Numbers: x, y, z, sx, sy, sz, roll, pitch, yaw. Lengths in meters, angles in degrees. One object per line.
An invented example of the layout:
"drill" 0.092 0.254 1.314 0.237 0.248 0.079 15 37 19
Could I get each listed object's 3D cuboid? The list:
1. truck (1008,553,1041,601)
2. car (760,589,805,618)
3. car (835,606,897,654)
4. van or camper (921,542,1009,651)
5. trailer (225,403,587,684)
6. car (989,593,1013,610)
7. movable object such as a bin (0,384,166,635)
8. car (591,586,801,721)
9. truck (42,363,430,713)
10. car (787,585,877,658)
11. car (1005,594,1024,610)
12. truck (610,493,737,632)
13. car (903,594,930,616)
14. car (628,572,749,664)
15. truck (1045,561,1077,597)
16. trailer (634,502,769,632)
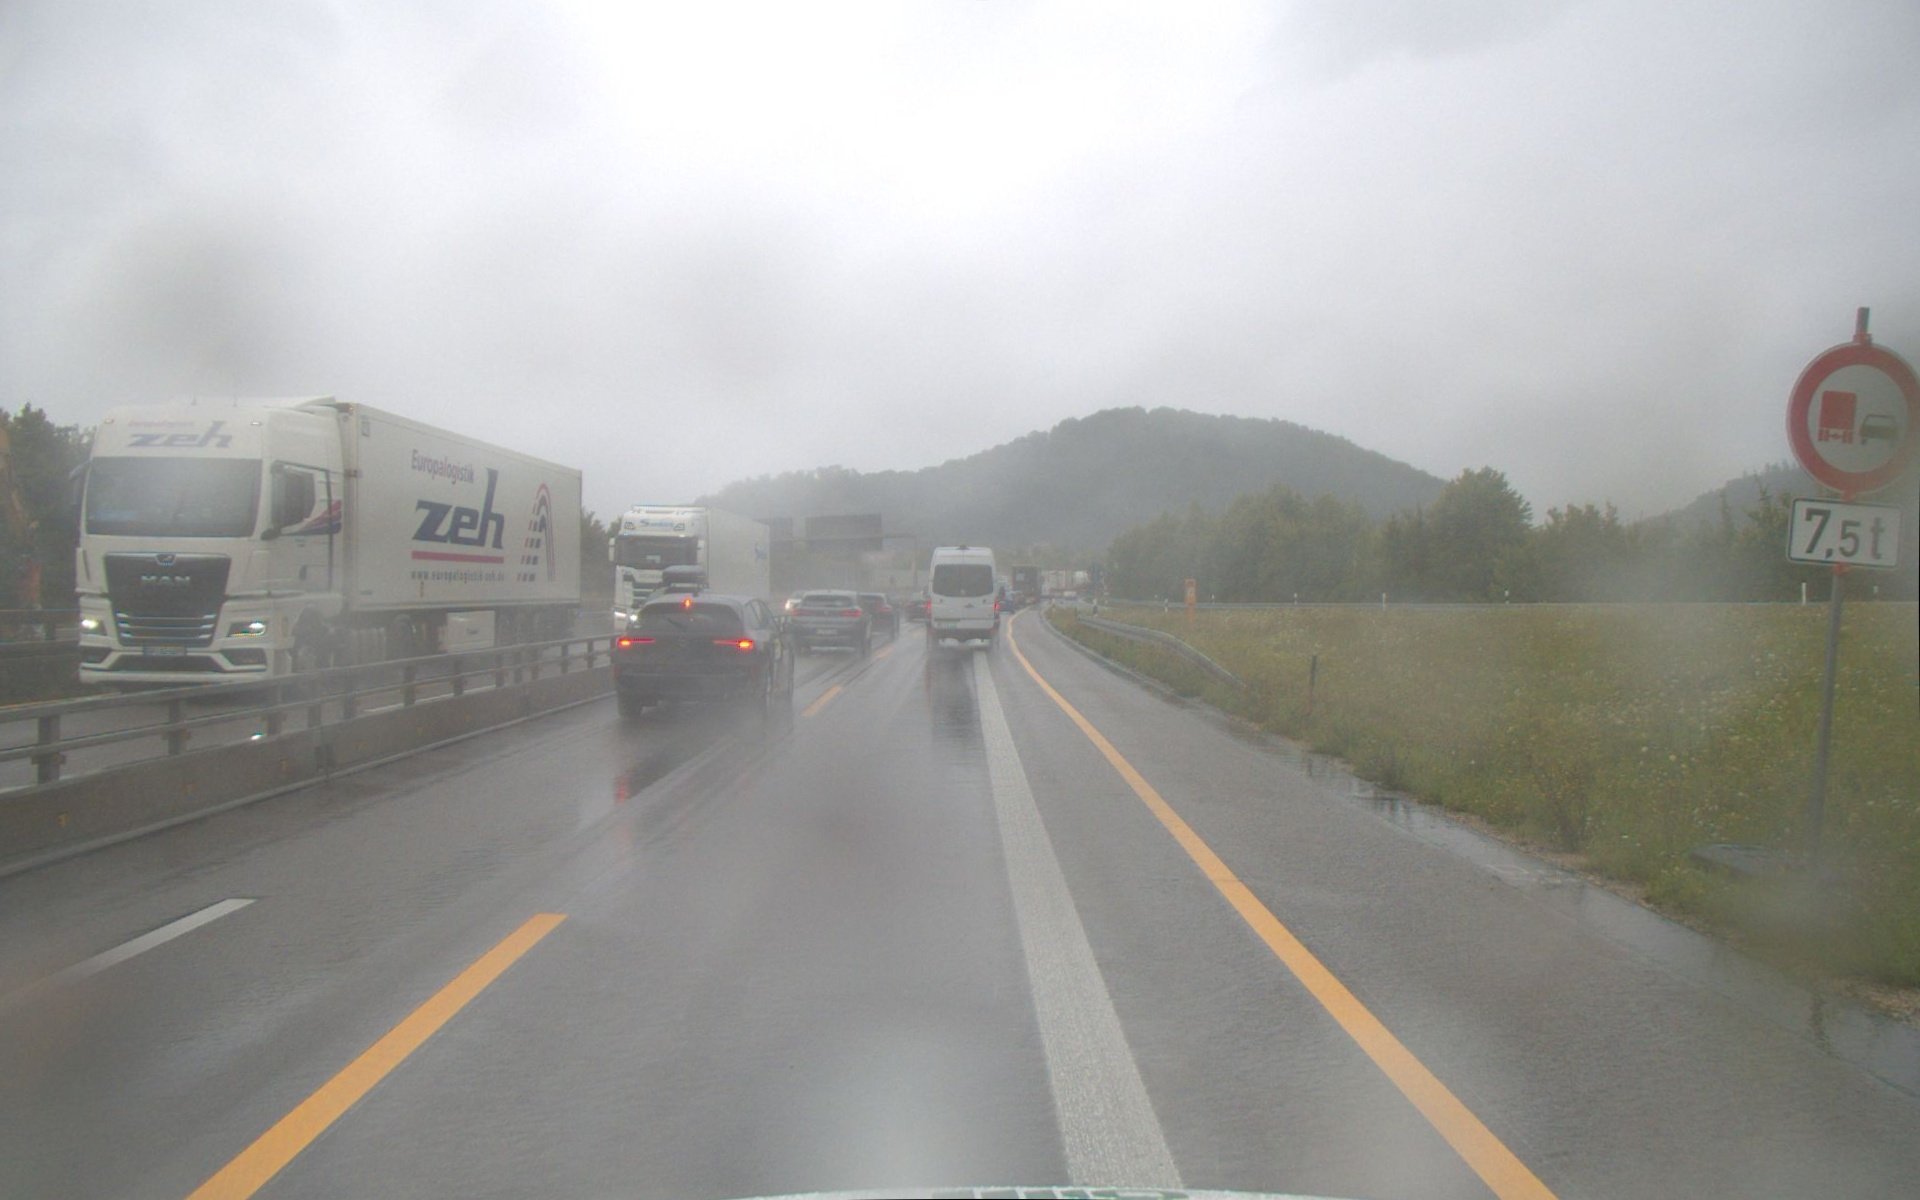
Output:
"truck" 6.889 -2.352 175.149 3.251 4.868 9.910 1 0 3
"car" -9.550 0.180 89.213 1.953 1.532 4.296 1 0 0
"car" -3.116 0.971 55.384 1.814 1.527 4.000 0 0 0
"van or camper" 0.080 -0.087 44.563 2.097 2.769 4.645 0 0 -3
"trailer" -9.564 -0.919 30.621 2.443 4.120 12.587 0 1 0
"car" 2.803 0.092 113.607 1.357 1.097 3.120 0 0 -3
"movable object such as a bin" -25.057 -2.223 42.006 4.085 6.018 11.046 1 0 1
"car" -3.136 0.589 20.610 1.899 1.452 4.759 1 0 -1
"truck" -9.595 -0.783 22.782 2.432 4.101 6.449 1 1 0
"car" -3.080 0.506 40.517 1.829 1.688 3.988 0 0 1
"car" 4.447 0.169 135.482 1.356 1.278 3.122 0 0 -1
"truck" -9.086 -1.177 53.187 2.824 4.173 6.926 0 1 0
"car" -2.187 0.234 83.629 1.237 1.097 3.254 0 0 0
"car" -6.001 0.348 37.073 1.952 1.917 4.433 0 1 0
"truck" 14.657 -2.974 239.246 3.845 4.868 9.914 1 0 8
"trailer" -9.035 -1.148 59.436 2.847 4.161 12.220 0 1 0
